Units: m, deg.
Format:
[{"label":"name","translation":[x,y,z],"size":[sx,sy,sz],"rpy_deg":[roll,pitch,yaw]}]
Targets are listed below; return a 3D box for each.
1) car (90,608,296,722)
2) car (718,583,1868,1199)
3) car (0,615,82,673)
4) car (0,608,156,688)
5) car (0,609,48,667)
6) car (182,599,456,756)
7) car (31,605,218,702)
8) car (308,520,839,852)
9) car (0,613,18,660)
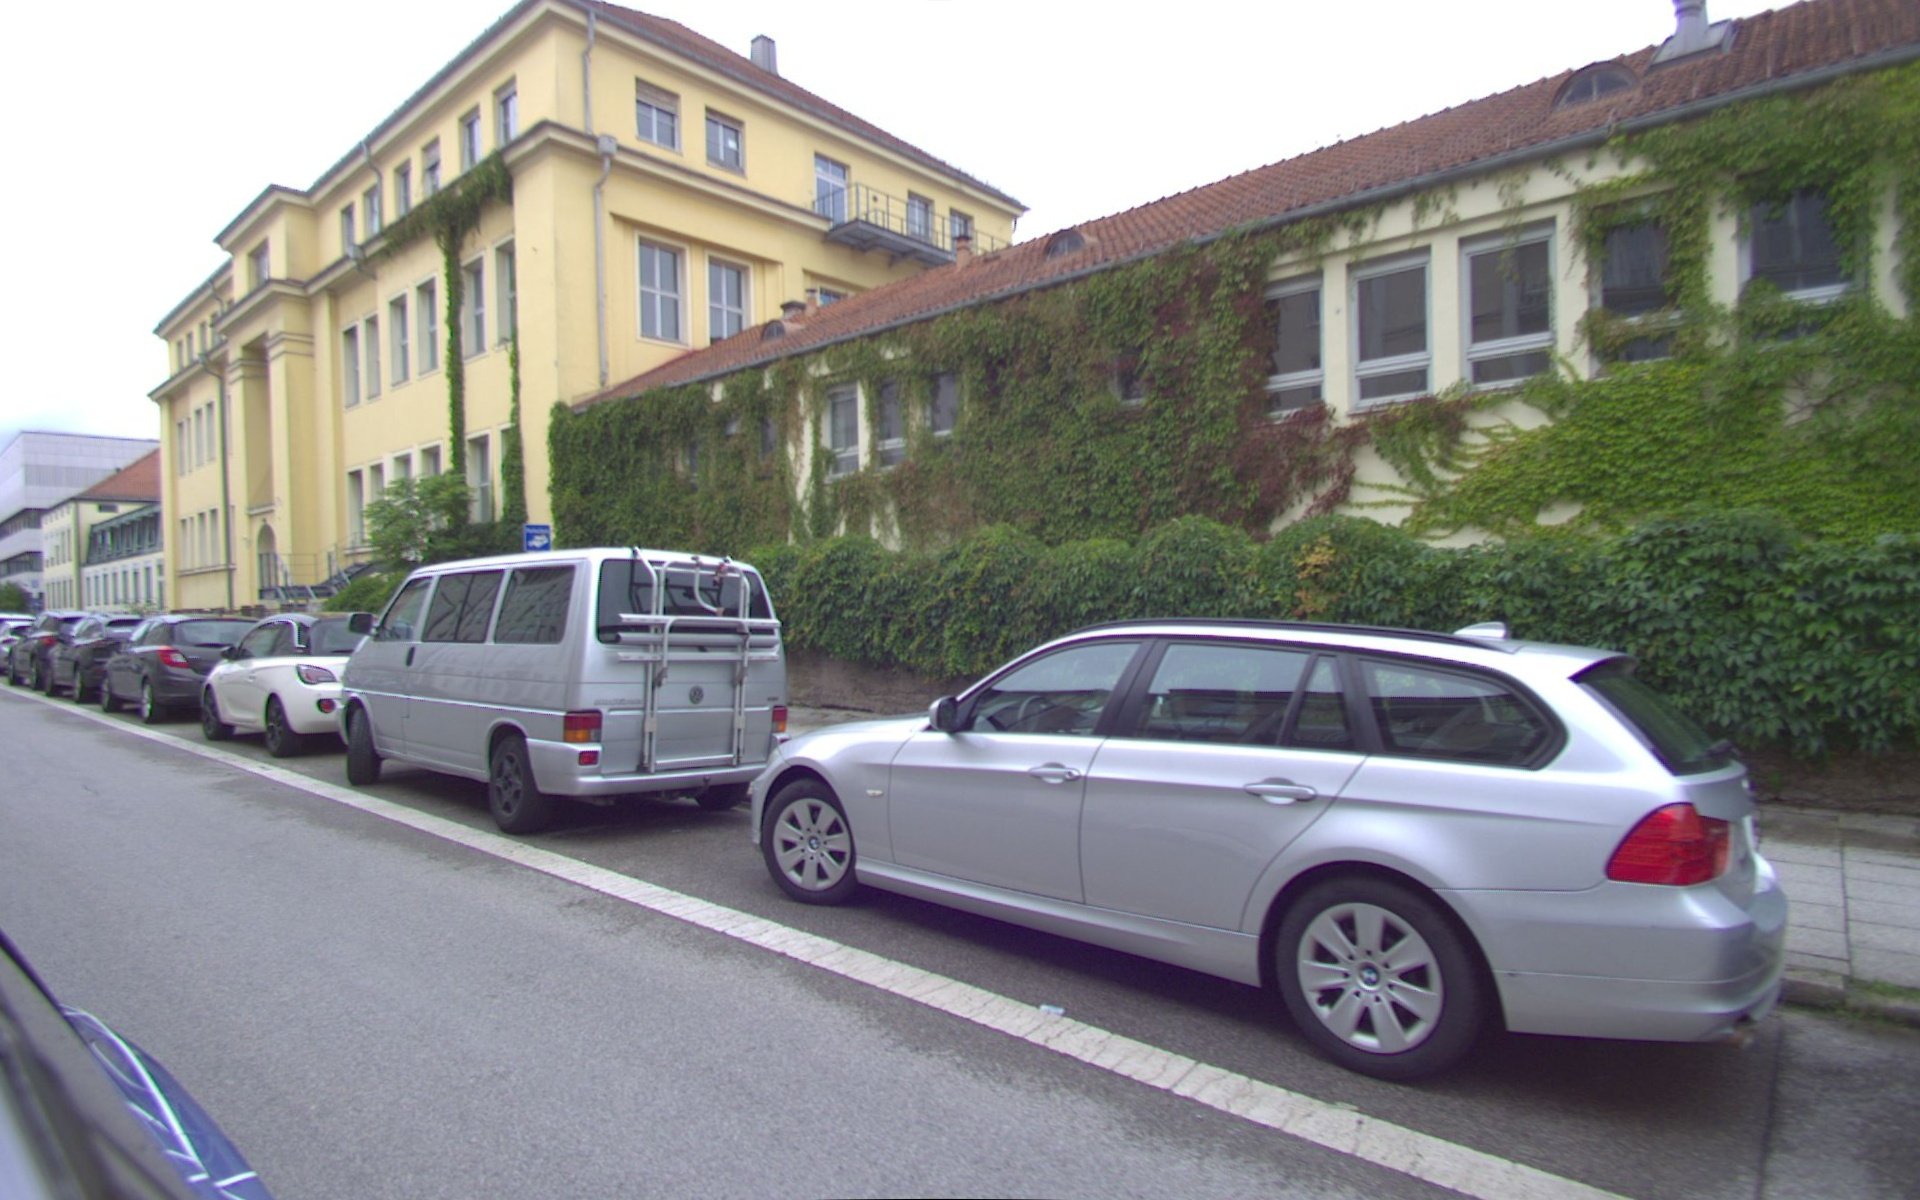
[{"label":"car","translation":[-11.375,0.879,14.925],"size":[3.901,1.467,1.562],"rpy_deg":[-1,-3,40]},{"label":"car","translation":[0.981,0.750,4.459],"size":[4.422,1.433,1.683],"rpy_deg":[-1,-4,41]},{"label":"car","translation":[-24.964,1.156,27.018],"size":[3.892,1.437,1.663],"rpy_deg":[-1,-4,40]},{"label":"car","translation":[-18.801,1.003,21.524],"size":[4.190,1.550,1.764],"rpy_deg":[-1,-4,39]},{"label":"car","translation":[-29.183,1.128,30.547],"size":[4.351,1.646,1.664],"rpy_deg":[-1,-4,38]},{"label":"car","translation":[-7.392,0.794,11.544],"size":[3.727,1.504,1.562],"rpy_deg":[-1,-3,40]},{"label":"car","translation":[-15.021,0.903,18.129],"size":[4.144,1.549,1.764],"rpy_deg":[-1,-2,39]},{"label":"car","translation":[-3.305,0.567,8.103],"size":[4.757,1.890,1.972],"rpy_deg":[-1,-3,42]},{"label":"car","translation":[-33.080,1.203,33.908],"size":[3.969,1.516,1.663],"rpy_deg":[-1,0,39]}]
